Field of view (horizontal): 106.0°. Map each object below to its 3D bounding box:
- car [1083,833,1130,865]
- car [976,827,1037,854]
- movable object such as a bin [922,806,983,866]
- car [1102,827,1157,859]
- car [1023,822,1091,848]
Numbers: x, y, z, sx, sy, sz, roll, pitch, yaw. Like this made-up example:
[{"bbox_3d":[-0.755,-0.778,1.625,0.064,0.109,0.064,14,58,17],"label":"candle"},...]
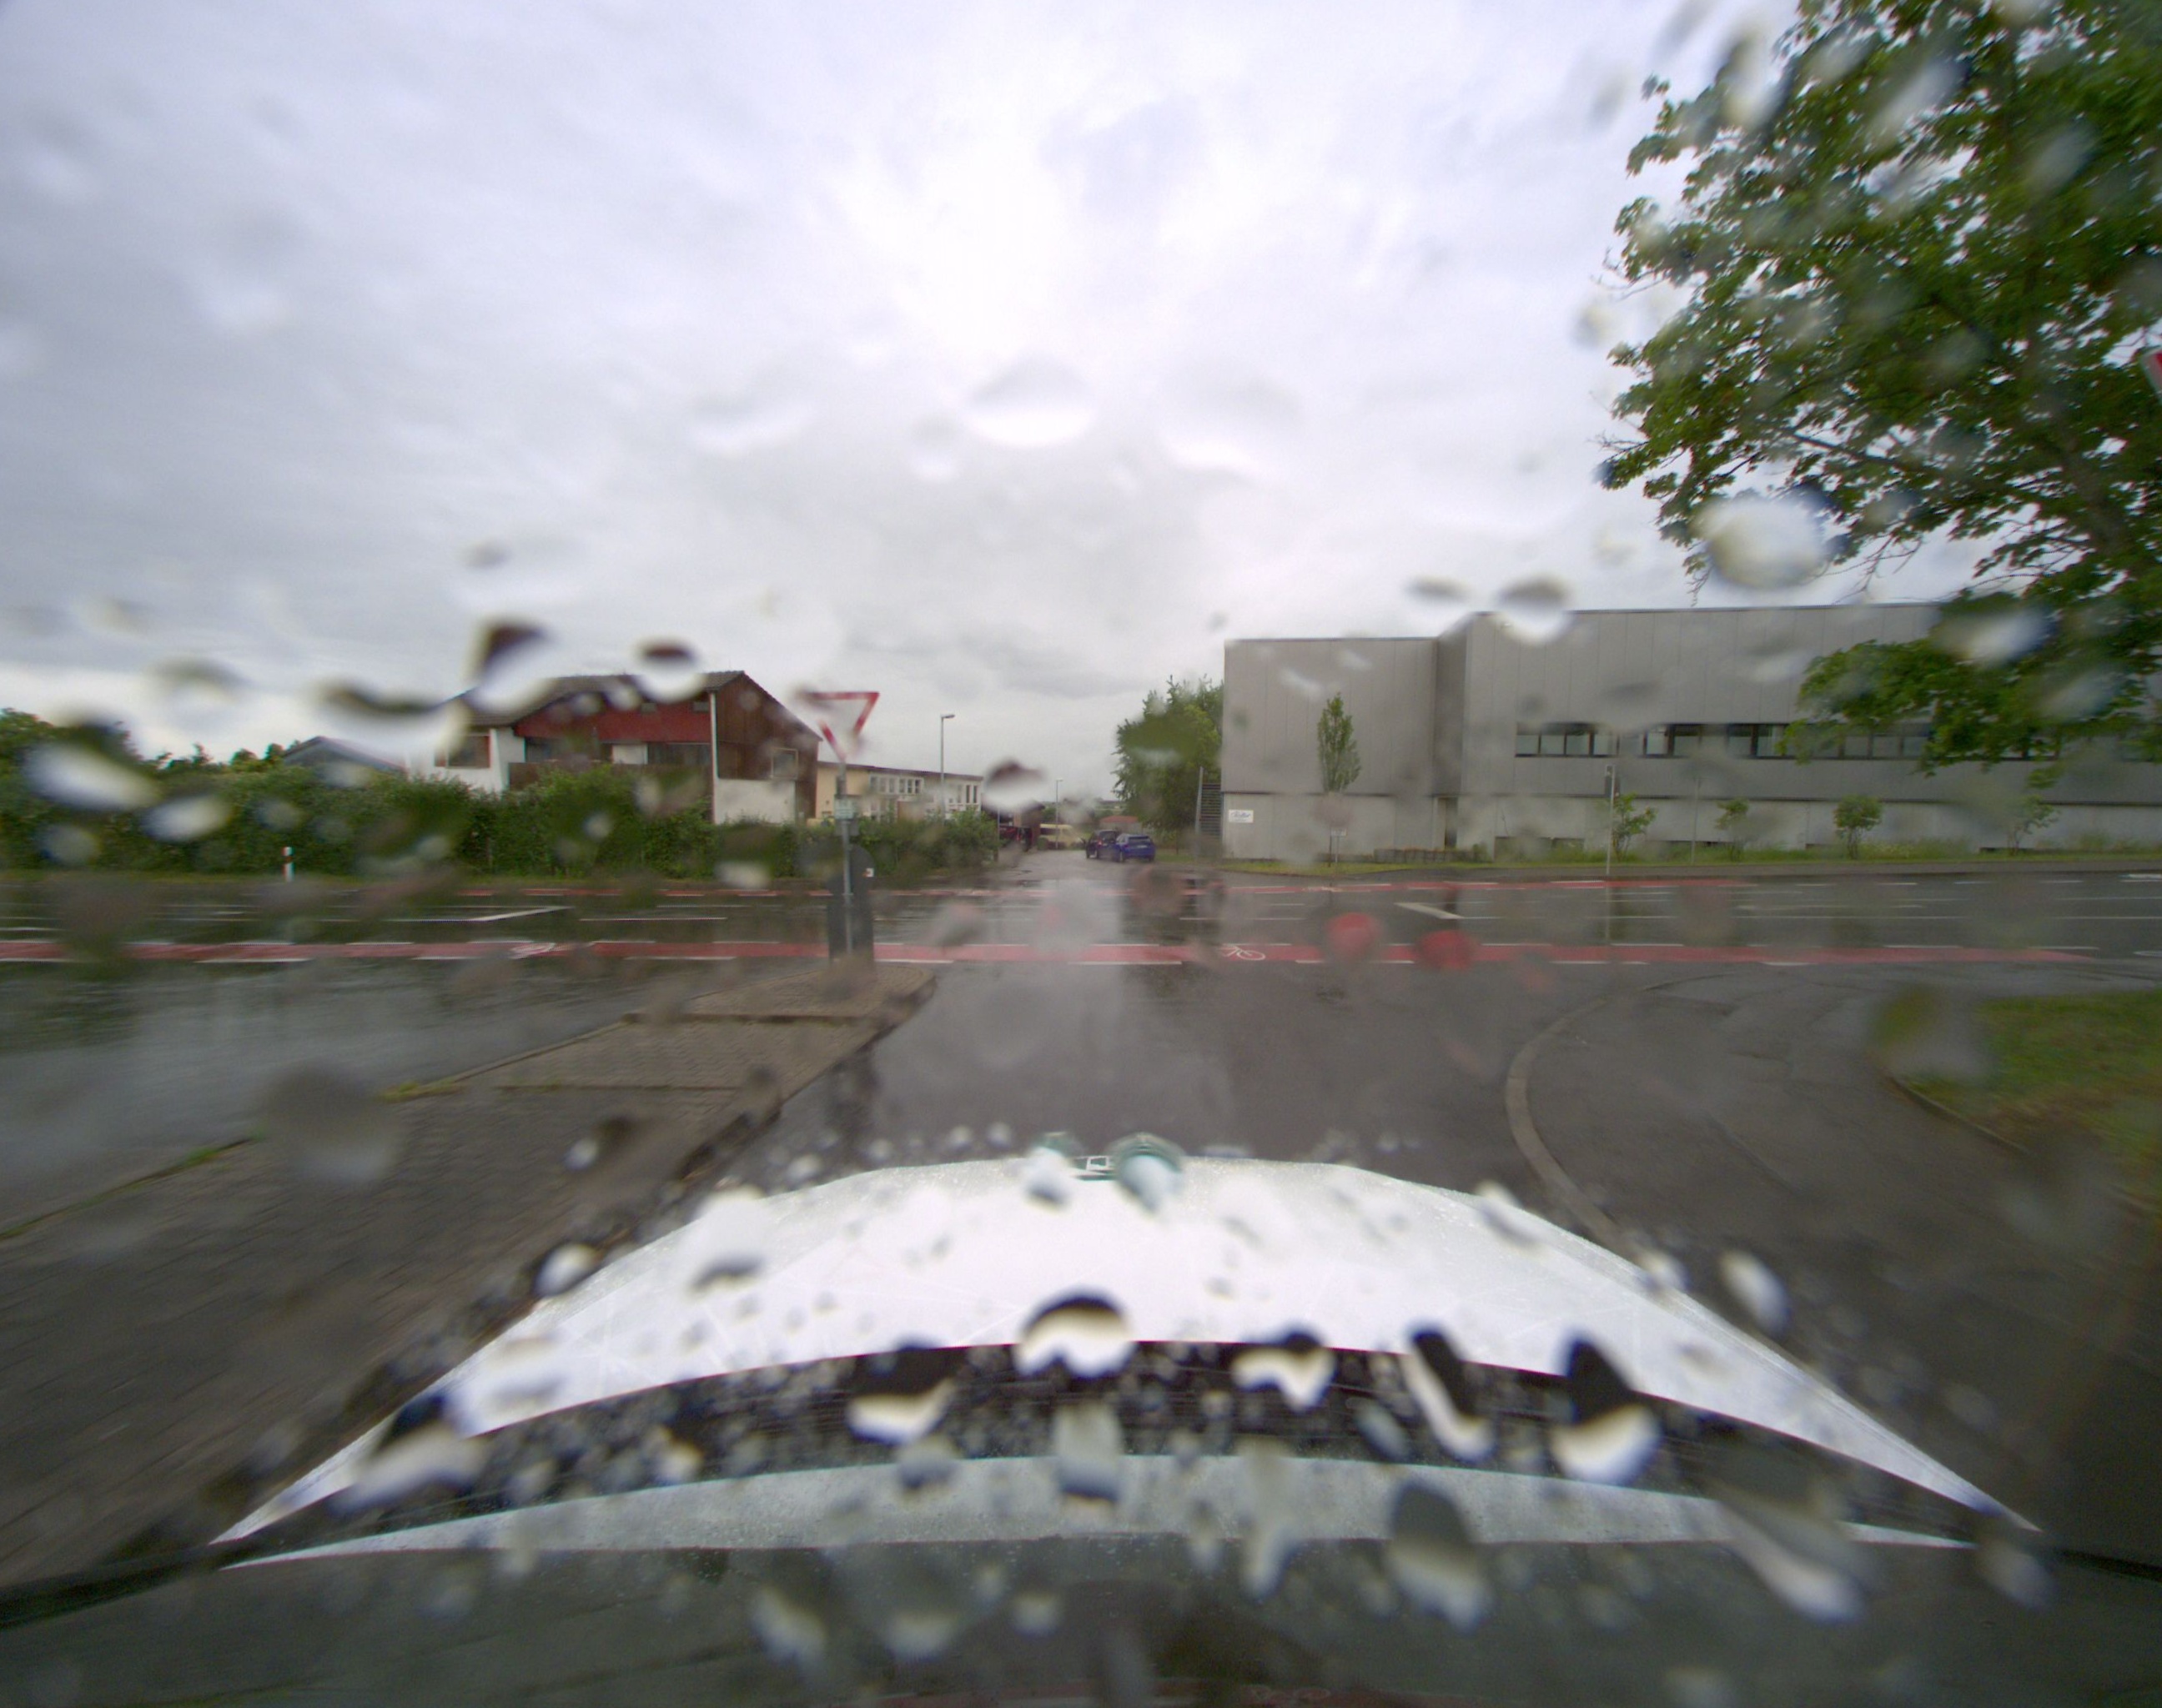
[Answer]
[{"bbox_3d":[1.500,-0.322,49.487,2.073,1.834,4.457,-1,1,-9],"label":"car"},{"bbox_3d":[-5.547,-1.011,60.396,4.353,1.904,2.013,0,1,38],"label":"car"},{"bbox_3d":[-5.773,-0.808,36.943,1.722,2.556,3.349,0,1,10],"label":"movable object such as a bin"},{"bbox_3d":[2.523,-0.605,43.265,1.952,1.610,4.432,-1,1,-10],"label":"car"},{"bbox_3d":[-2.270,-1.842,78.143,5.964,2.415,2.474,0,1,15],"label":"car"}]
